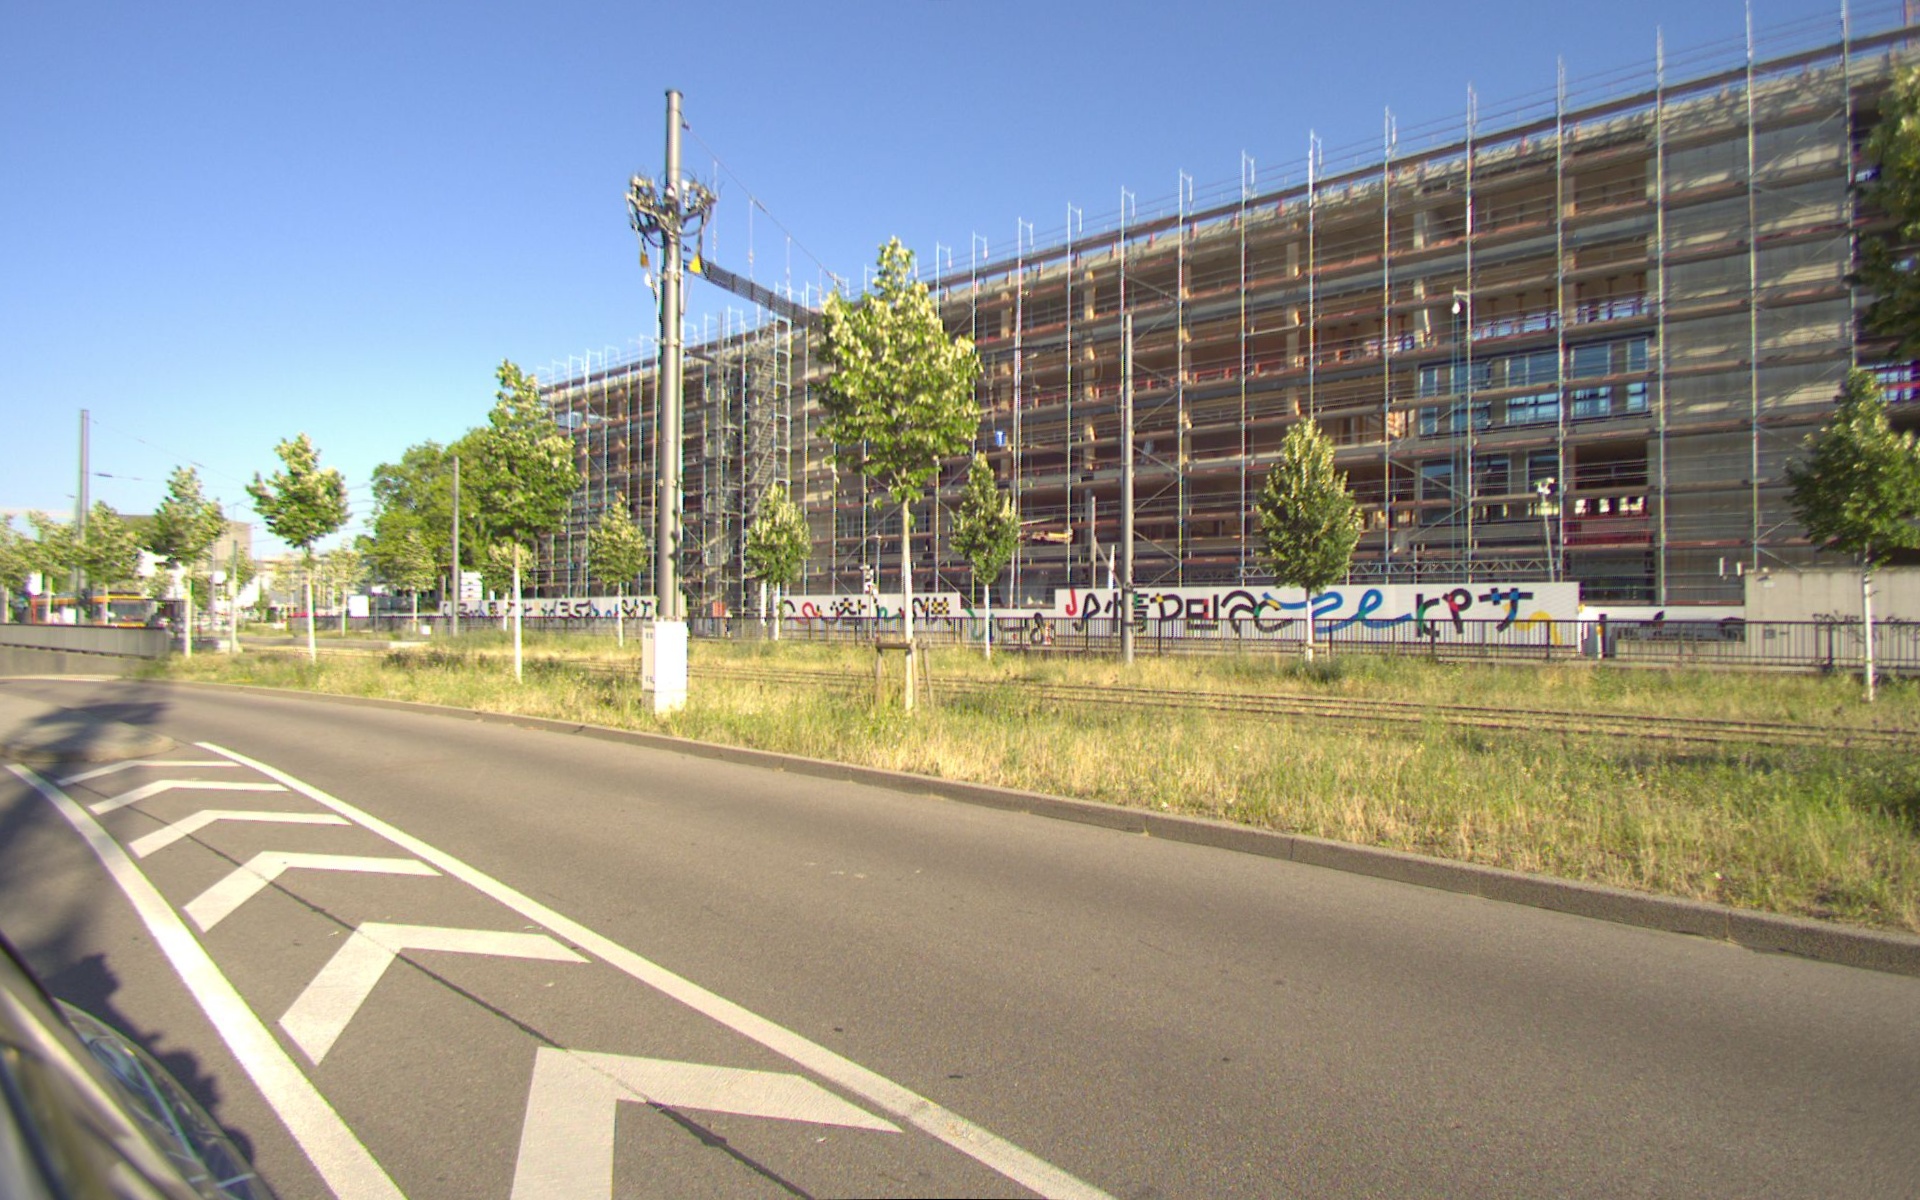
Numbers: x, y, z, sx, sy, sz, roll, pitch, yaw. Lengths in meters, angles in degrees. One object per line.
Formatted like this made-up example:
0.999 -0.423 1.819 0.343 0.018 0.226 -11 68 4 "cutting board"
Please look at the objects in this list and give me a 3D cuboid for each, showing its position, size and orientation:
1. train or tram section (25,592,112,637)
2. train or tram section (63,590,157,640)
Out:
-73.258 1.193 83.015 14.749 3.423 2.917 -1 0 39 "train or tram section"
-62.601 1.106 74.355 12.619 3.423 2.917 -1 0 39 "train or tram section"
